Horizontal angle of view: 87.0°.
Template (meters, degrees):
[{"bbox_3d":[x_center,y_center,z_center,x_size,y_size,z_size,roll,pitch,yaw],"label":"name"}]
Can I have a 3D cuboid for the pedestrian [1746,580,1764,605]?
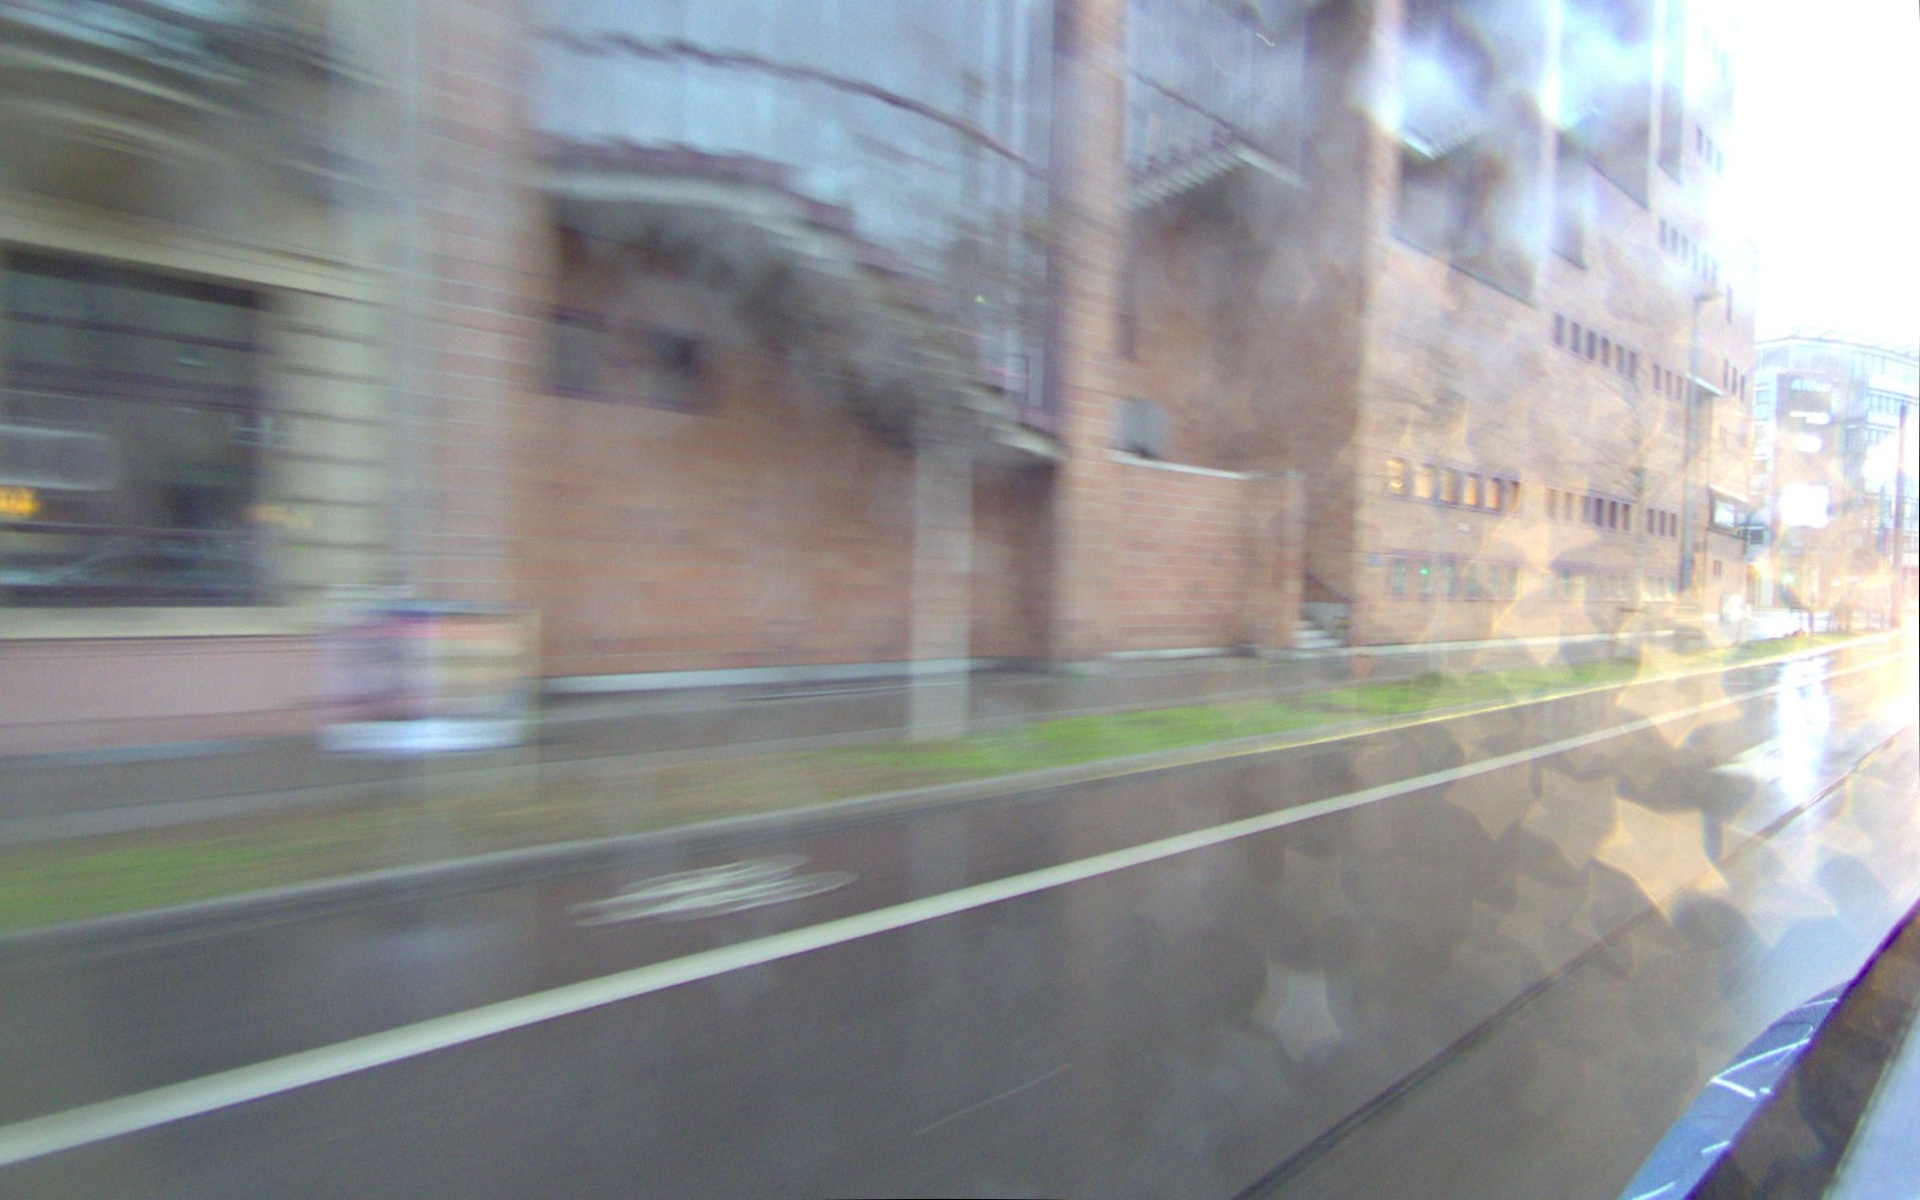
[{"bbox_3d":[59.695,-0.580,76.010,0.789,1.833,0.647,2,1,16],"label":"pedestrian"}]

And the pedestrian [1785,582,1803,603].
[{"bbox_3d":[73.956,-0.642,89.739,1.147,1.809,0.766,3,2,40],"label":"pedestrian"}]
